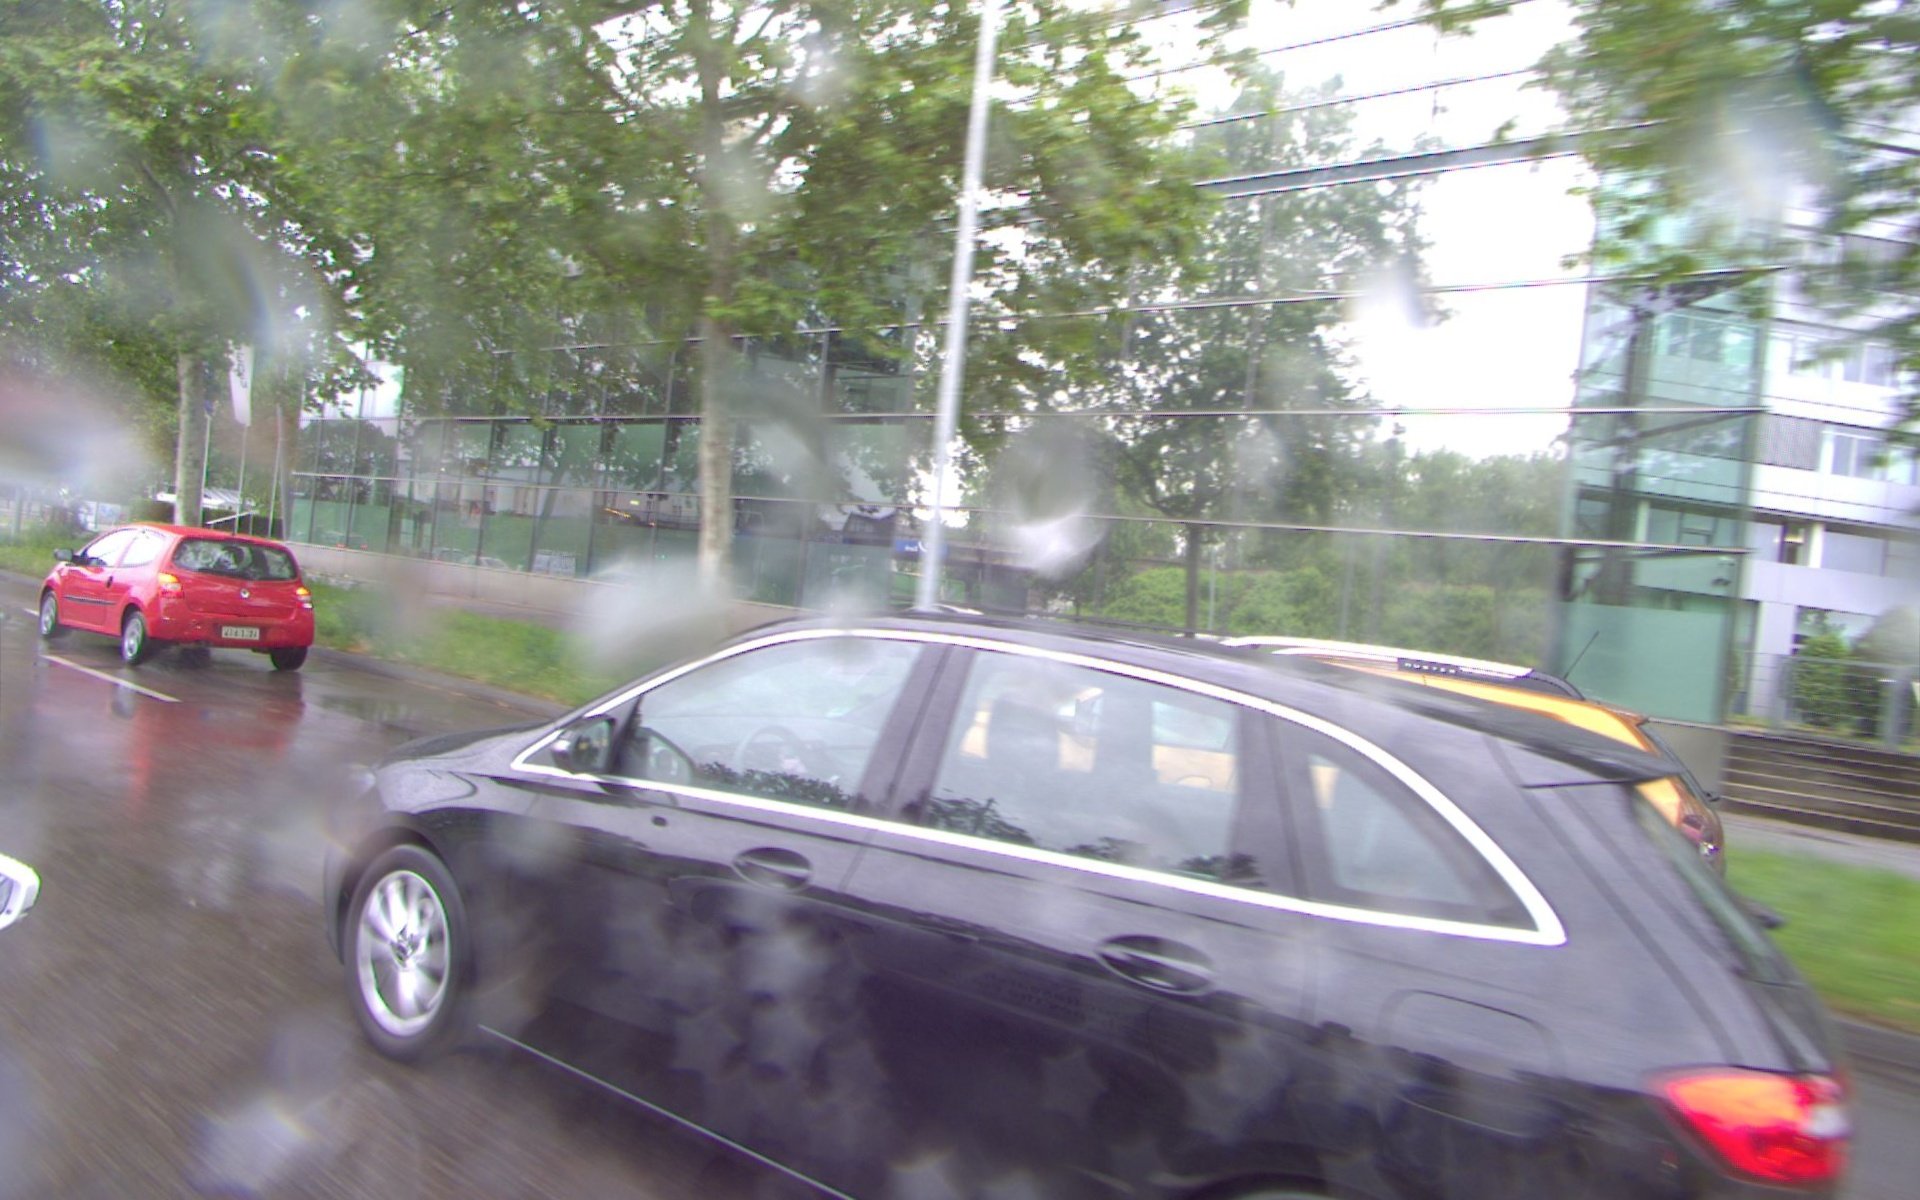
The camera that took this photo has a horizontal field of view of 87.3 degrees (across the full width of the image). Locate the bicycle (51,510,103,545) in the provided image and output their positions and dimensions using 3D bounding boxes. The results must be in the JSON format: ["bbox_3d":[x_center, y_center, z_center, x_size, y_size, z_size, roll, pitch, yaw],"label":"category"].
[{"bbox_3d":[-32.177,-2.646,36.658,2.042,1.119,0.743,6,2,30],"label":"bicycle"}]

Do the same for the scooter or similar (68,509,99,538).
[{"bbox_3d":[-38.276,-3.353,43.936,0.335,1.153,1.173,6,1,-8],"label":"scooter or similar"}]

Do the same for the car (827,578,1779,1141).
[{"bbox_3d":[1.547,0.958,5.435,4.101,1.652,1.902,6,0,32],"label":"car"}]

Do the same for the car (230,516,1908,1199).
[{"bbox_3d":[-0.145,0.748,3.118,4.018,1.542,1.873,6,0,30],"label":"car"}]

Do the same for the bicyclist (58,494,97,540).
[{"bbox_3d":[-32.152,-3.021,36.650,0.739,1.535,0.805,6,2,29],"label":"bicyclist"}]

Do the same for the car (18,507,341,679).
[{"bbox_3d":[-9.003,-0.100,11.557,3.561,1.509,1.681,6,-1,32],"label":"car"}]
